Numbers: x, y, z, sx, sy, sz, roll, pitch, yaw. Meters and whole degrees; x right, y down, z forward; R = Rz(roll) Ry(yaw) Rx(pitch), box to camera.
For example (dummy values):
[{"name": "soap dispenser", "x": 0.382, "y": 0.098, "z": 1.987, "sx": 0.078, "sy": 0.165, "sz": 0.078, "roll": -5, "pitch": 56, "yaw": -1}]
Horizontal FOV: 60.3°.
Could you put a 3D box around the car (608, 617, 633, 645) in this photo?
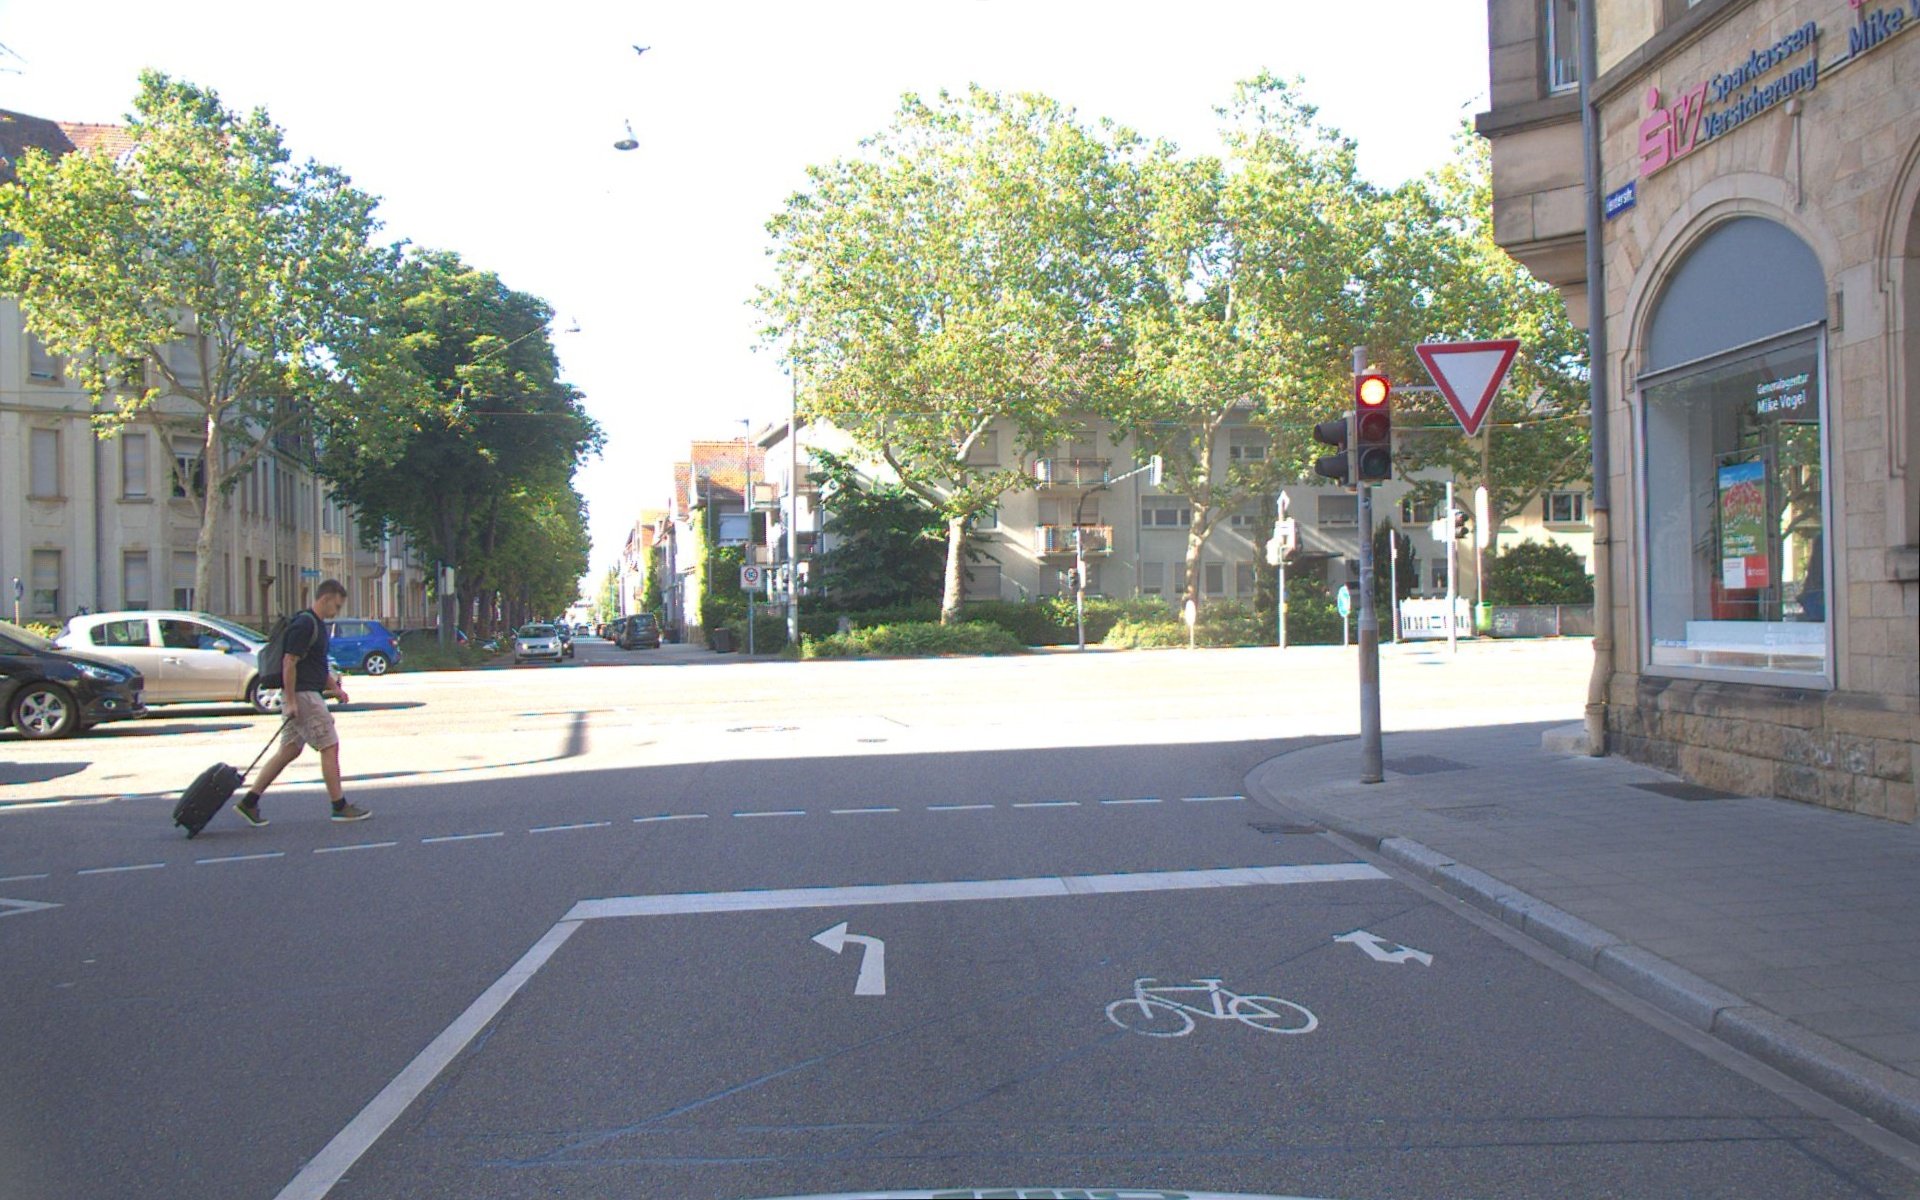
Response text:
[{"name": "car", "x": -26.224, "y": 2.384, "z": 127.714, "sx": 1.742, "sy": 1.952, "sz": 3.523, "roll": -3, "pitch": 0, "yaw": -12}]

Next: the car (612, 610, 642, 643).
[{"name": "car", "x": -21.005, "y": 1.654, "z": 104.294, "sx": 1.742, "sy": 1.952, "sz": 3.523, "roll": -3, "pitch": 0, "yaw": -12}]

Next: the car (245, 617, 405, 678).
[{"name": "car", "x": -16.202, "y": 1.196, "z": 42.277, "sx": 3.728, "sy": 1.425, "sz": 1.635, "roll": -1, "pitch": 0, "yaw": -22}]

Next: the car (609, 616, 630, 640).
[{"name": "car", "x": -30.035, "y": 2.451, "z": 145.940, "sx": 1.742, "sy": 1.952, "sz": 3.523, "roll": -3, "pitch": 0, "yaw": -12}]

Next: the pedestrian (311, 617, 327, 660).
[{"name": "pedestrian", "x": -22.598, "y": 1.356, "z": 58.332, "sx": 0.482, "sy": 1.467, "sz": 0.700, "roll": 1, "pitch": -1, "yaw": -23}]

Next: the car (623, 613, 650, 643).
[{"name": "car", "x": -22.480, "y": 1.928, "z": 114.885, "sx": 1.742, "sy": 1.952, "sz": 3.523, "roll": -3, "pitch": 0, "yaw": -12}]

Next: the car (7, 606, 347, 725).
[{"name": "car", "x": -11.086, "y": 0.893, "z": 23.722, "sx": 4.132, "sy": 1.482, "sz": 1.671, "roll": -1, "pitch": 1, "yaw": -16}]

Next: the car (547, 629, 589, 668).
[{"name": "car", "x": -17.144, "y": 2.111, "z": 72.484, "sx": 1.669, "sy": 1.509, "sz": 3.523, "roll": -3, "pitch": 1, "yaw": -12}]

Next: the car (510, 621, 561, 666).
[{"name": "car", "x": -16.162, "y": 1.637, "z": 63.082, "sx": 1.669, "sy": 1.509, "sz": 3.523, "roll": -3, "pitch": 1, "yaw": -12}]

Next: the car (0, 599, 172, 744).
[{"name": "car", "x": -12.337, "y": 0.878, "z": 20.266, "sx": 4.586, "sy": 1.694, "sz": 1.722, "roll": -1, "pitch": 0, "yaw": -17}]

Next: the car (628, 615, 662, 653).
[{"name": "car", "x": -17.971, "y": 1.918, "z": 94.221, "sx": 1.742, "sy": 1.952, "sz": 3.523, "roll": -3, "pitch": 0, "yaw": -12}]

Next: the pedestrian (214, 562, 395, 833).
[{"name": "pedestrian", "x": -4.844, "y": 0.695, "z": 12.294, "sx": 1.047, "sy": 1.880, "sz": 0.746, "roll": -3, "pitch": 0, "yaw": -13}]

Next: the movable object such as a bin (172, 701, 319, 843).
[{"name": "movable object such as a bin", "x": -5.112, "y": 1.218, "z": 11.866, "sx": 0.847, "sy": 0.907, "sz": 0.508, "roll": -3, "pitch": 0, "yaw": -13}]

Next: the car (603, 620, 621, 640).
[{"name": "car", "x": -37.923, "y": 3.255, "z": 180.189, "sx": 1.742, "sy": 1.952, "sz": 3.523, "roll": -3, "pitch": 0, "yaw": -12}]

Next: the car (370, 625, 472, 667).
[{"name": "car", "x": -20.442, "y": 1.737, "z": 62.810, "sx": 3.572, "sy": 1.483, "sz": 1.650, "roll": -1, "pitch": 0, "yaw": -16}]
